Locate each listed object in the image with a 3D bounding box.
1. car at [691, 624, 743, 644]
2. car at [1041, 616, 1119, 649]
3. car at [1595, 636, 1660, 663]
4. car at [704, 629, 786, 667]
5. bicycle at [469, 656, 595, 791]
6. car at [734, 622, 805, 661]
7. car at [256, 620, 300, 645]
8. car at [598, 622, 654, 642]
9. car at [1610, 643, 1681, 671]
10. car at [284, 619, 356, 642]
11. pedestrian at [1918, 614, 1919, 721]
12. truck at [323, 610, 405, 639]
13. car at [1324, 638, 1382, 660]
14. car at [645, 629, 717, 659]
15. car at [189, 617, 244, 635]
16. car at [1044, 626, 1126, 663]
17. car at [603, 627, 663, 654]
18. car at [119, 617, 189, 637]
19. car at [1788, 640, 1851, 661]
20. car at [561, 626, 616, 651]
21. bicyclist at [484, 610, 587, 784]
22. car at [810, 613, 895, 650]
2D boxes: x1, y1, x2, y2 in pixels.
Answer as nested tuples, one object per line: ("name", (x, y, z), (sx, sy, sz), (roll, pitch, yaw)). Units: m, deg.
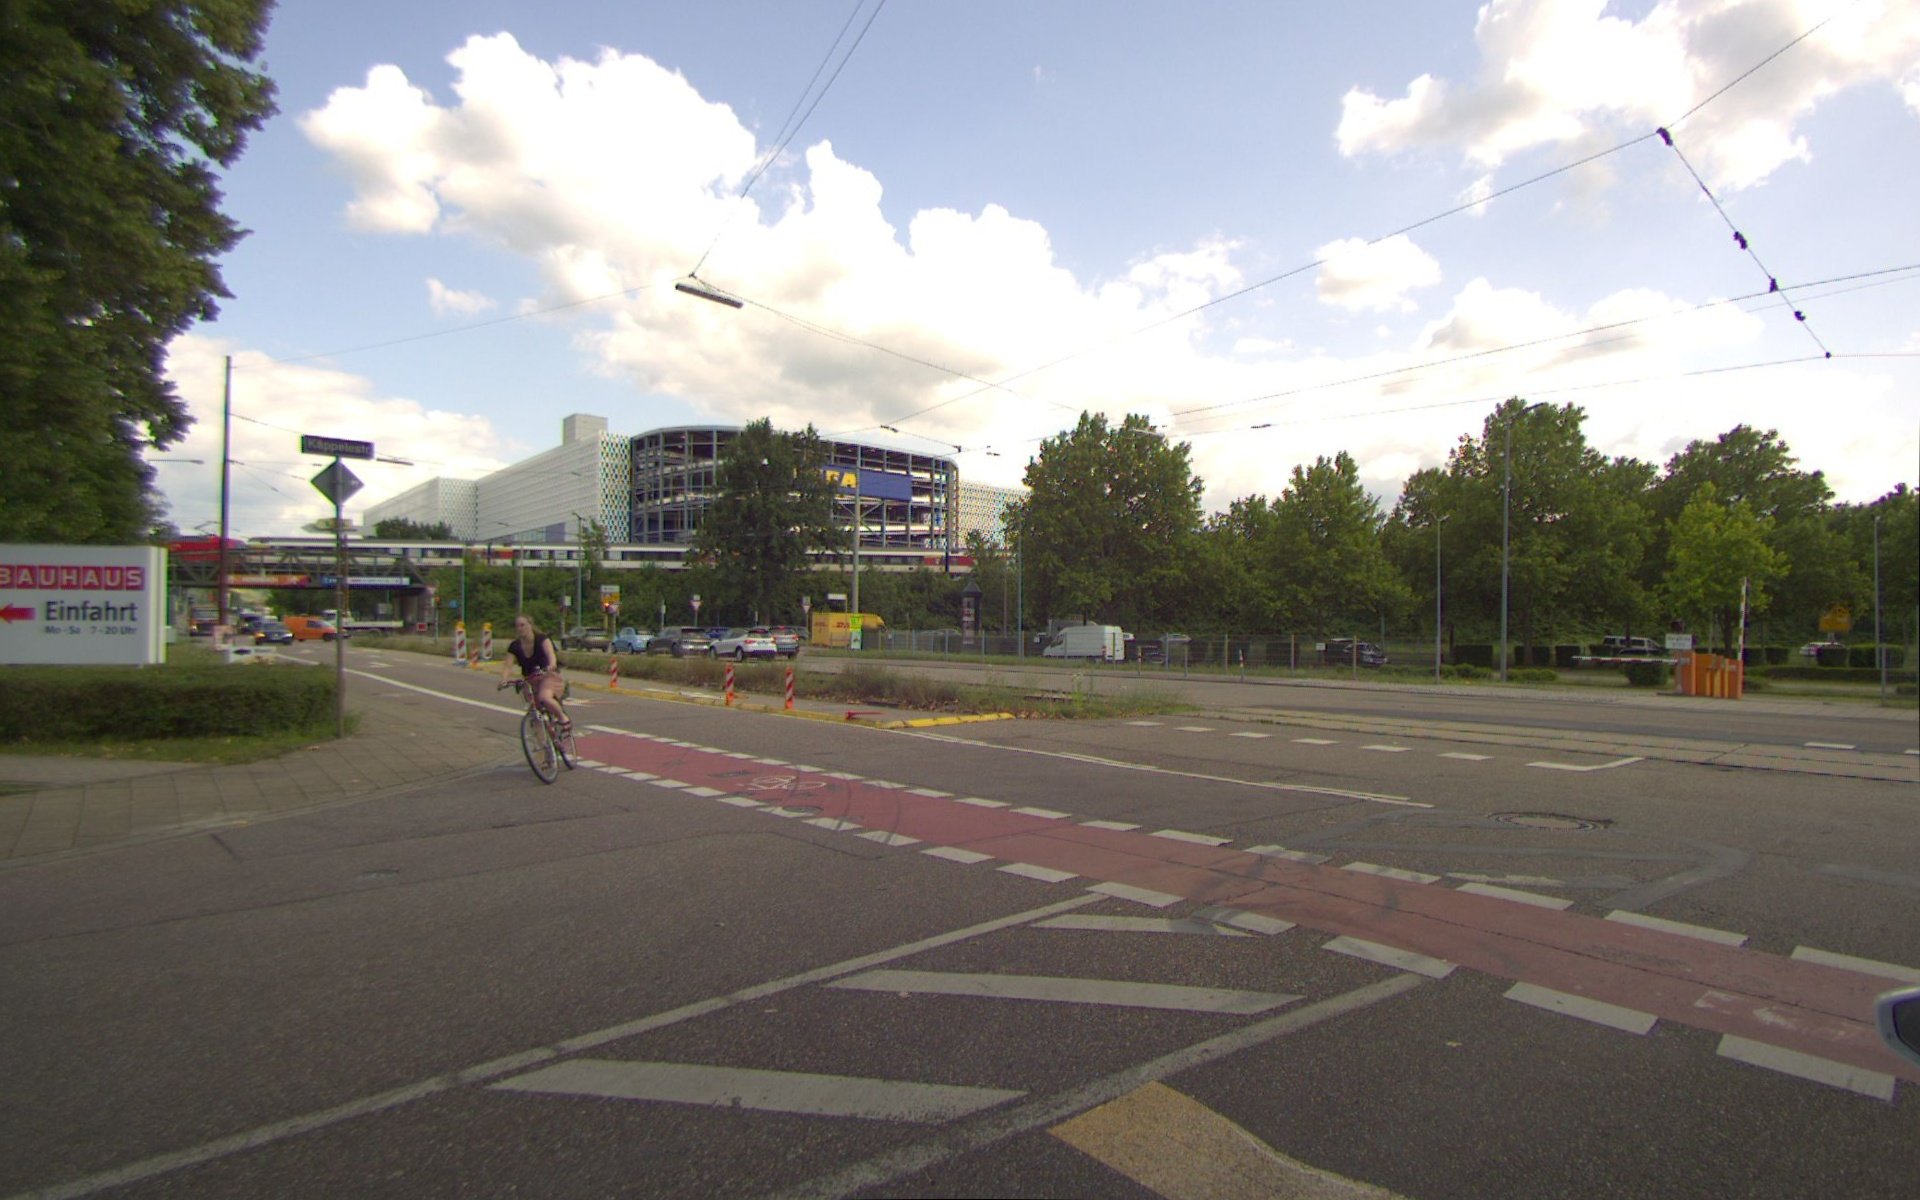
("car", (-20.528, 2.888, 84.897), (3.922, 1.577, 1.874), (1, -1, -3))
("car", (9.527, 2.580, 80.126), (5.799, 2.474, 2.210), (1, -1, -6))
("car", (55.824, 4.126, 84.022), (4.485, 2.164, 1.859), (1, -1, -8))
("car", (-9.933, 2.176, 46.265), (1.909, 1.600, 4.183), (1, -1, -41))
("bicycle", (-4.326, 1.204, 10.288), (0.717, 1.181, 1.813), (-1, -1, -8))
("car", (-9.557, 2.054, 50.237), (1.949, 1.839, 4.234), (1, -1, -35))
("car", (-42.727, 2.015, 62.904), (1.856, 1.505, 3.952), (2, -2, -41))
("car", (-27.481, 2.600, 82.746), (3.923, 1.577, 1.874), (1, -1, -3))
("car", (47.169, 3.907, 69.245), (1.874, 1.724, 3.995), (1, -1, -8))
("car", (-47.456, 2.253, 74.533), (4.060, 1.631, 1.797), (0, -1, -4))
("pedestrian", (17.245, 1.179, 17.067), (0.984, 1.874, 1.229), (0, -1, 19))
("truck", (-51.514, 2.123, 86.904), (5.633, 2.319, 2.030), (1, -1, -11))
("car", (33.056, 4.129, 84.544), (4.184, 1.706, 1.997), (1, -1, -8))
("car", (-14.253, 2.191, 51.194), (1.909, 1.424, 4.183), (1, -2, -41))
("car", (-74.066, 2.601, 100.129), (3.923, 1.808, 1.891), (1, -1, -4))
("car", (7.831, 2.761, 63.443), (1.785, 2.240, 5.237), (2, -2, -43))
("car", (-18.394, 2.253, 56.382), (1.784, 1.424, 3.981), (1, -1, -41))
("car", (-65.050, 2.183, 81.130), (3.926, 1.577, 1.873), (1, -1, -7))
("car", (76.260, 4.454, 89.140), (4.220, 1.744, 1.918), (1, -1, -7))
("car", (-22.481, 2.294, 60.699), (1.784, 1.424, 3.981), (1, -1, -41))
("bicyclist", (-4.322, 0.952, 10.299), (0.720, 1.669, 1.009), (-1, -1, -8))
("car", (-7.843, 2.326, 74.008), (2.176, 2.612, 6.367), (-1, -2, 44))
